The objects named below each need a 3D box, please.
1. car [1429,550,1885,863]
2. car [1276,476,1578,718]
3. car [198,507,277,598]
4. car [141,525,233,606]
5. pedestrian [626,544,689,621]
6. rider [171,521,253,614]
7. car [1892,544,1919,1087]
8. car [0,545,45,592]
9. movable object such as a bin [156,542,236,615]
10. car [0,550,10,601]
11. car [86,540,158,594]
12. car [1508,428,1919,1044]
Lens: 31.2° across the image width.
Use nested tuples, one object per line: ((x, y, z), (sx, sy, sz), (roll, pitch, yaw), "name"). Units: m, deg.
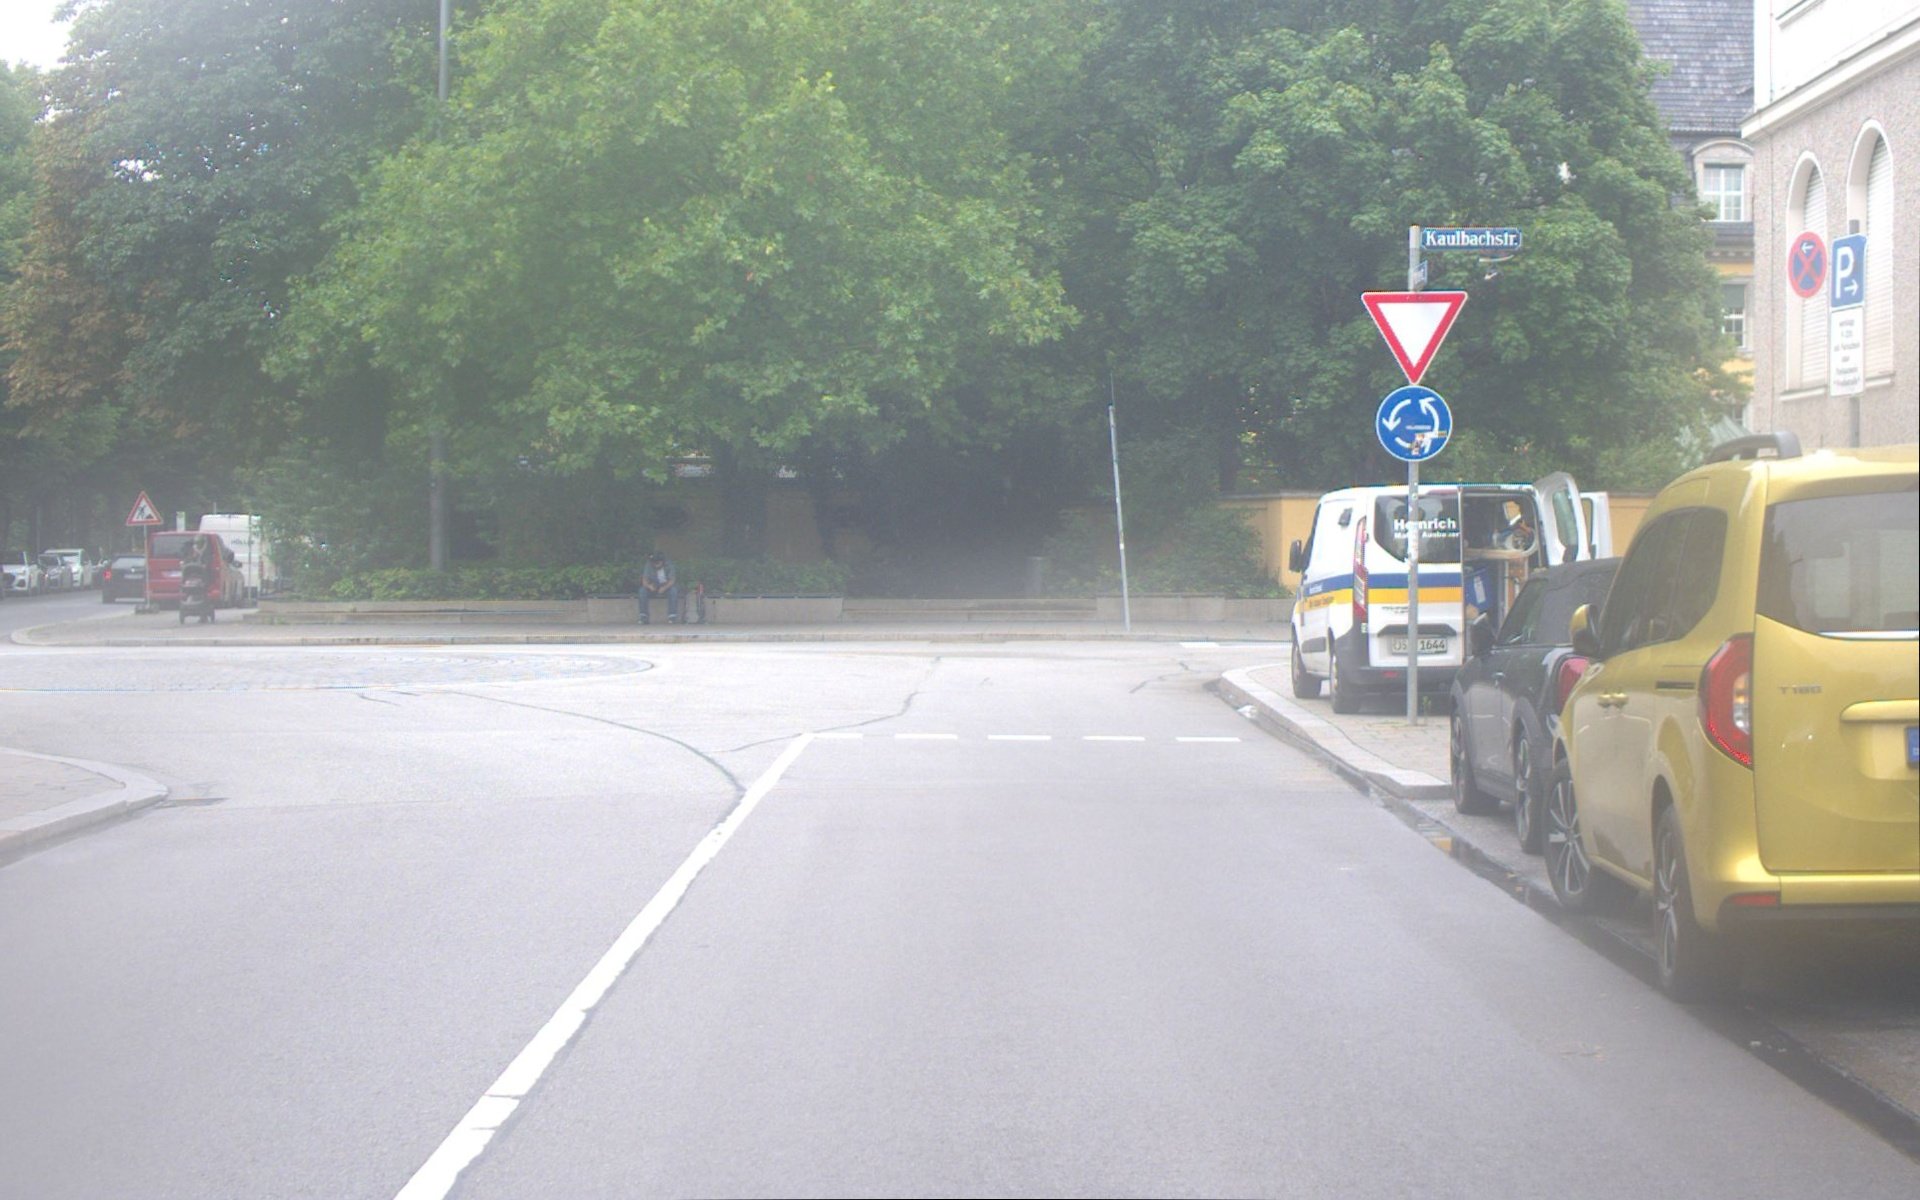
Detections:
((3.552, 0.476, 18.174), (1.664, 1.452, 3.896), (0, 1, 1), "car")
((4.084, -0.080, 30.852), (1.915, 1.955, 4.927), (-1, 1, -1), "car")
((-20.812, -1.392, 99.128), (2.041, 2.549, 5.250), (0, 1, -10), "car")
((-18.724, -0.855, 83.413), (2.041, 1.916, 4.447), (0, 1, -11), "car")
((-4.739, -0.281, 53.926), (0.812, 1.185, 0.919), (0, 1, 6), "pedestrian")
((-13.869, -0.610, 63.759), (1.082, 1.662, 1.139), (-2, 1, 8), "rider")
((3.401, 0.613, 7.734), (1.631, 1.479, 3.783), (0, 1, 1), "car")
((-32.160, -1.075, 115.966), (1.895, 1.566, 4.075), (0, 1, -6), "car")
((-13.968, -0.399, 62.886), (1.078, 1.263, 1.086), (-2, 1, 8), "movable object such as a bin")
((-30.277, -0.741, 104.744), (1.895, 1.566, 4.075), (0, 1, -6), "car")
((-24.075, -0.961, 98.887), (1.787, 1.487, 4.001), (0, 1, -10), "car")
((3.234, 0.356, 12.695), (1.850, 1.846, 4.820), (0, 1, 3), "car")
